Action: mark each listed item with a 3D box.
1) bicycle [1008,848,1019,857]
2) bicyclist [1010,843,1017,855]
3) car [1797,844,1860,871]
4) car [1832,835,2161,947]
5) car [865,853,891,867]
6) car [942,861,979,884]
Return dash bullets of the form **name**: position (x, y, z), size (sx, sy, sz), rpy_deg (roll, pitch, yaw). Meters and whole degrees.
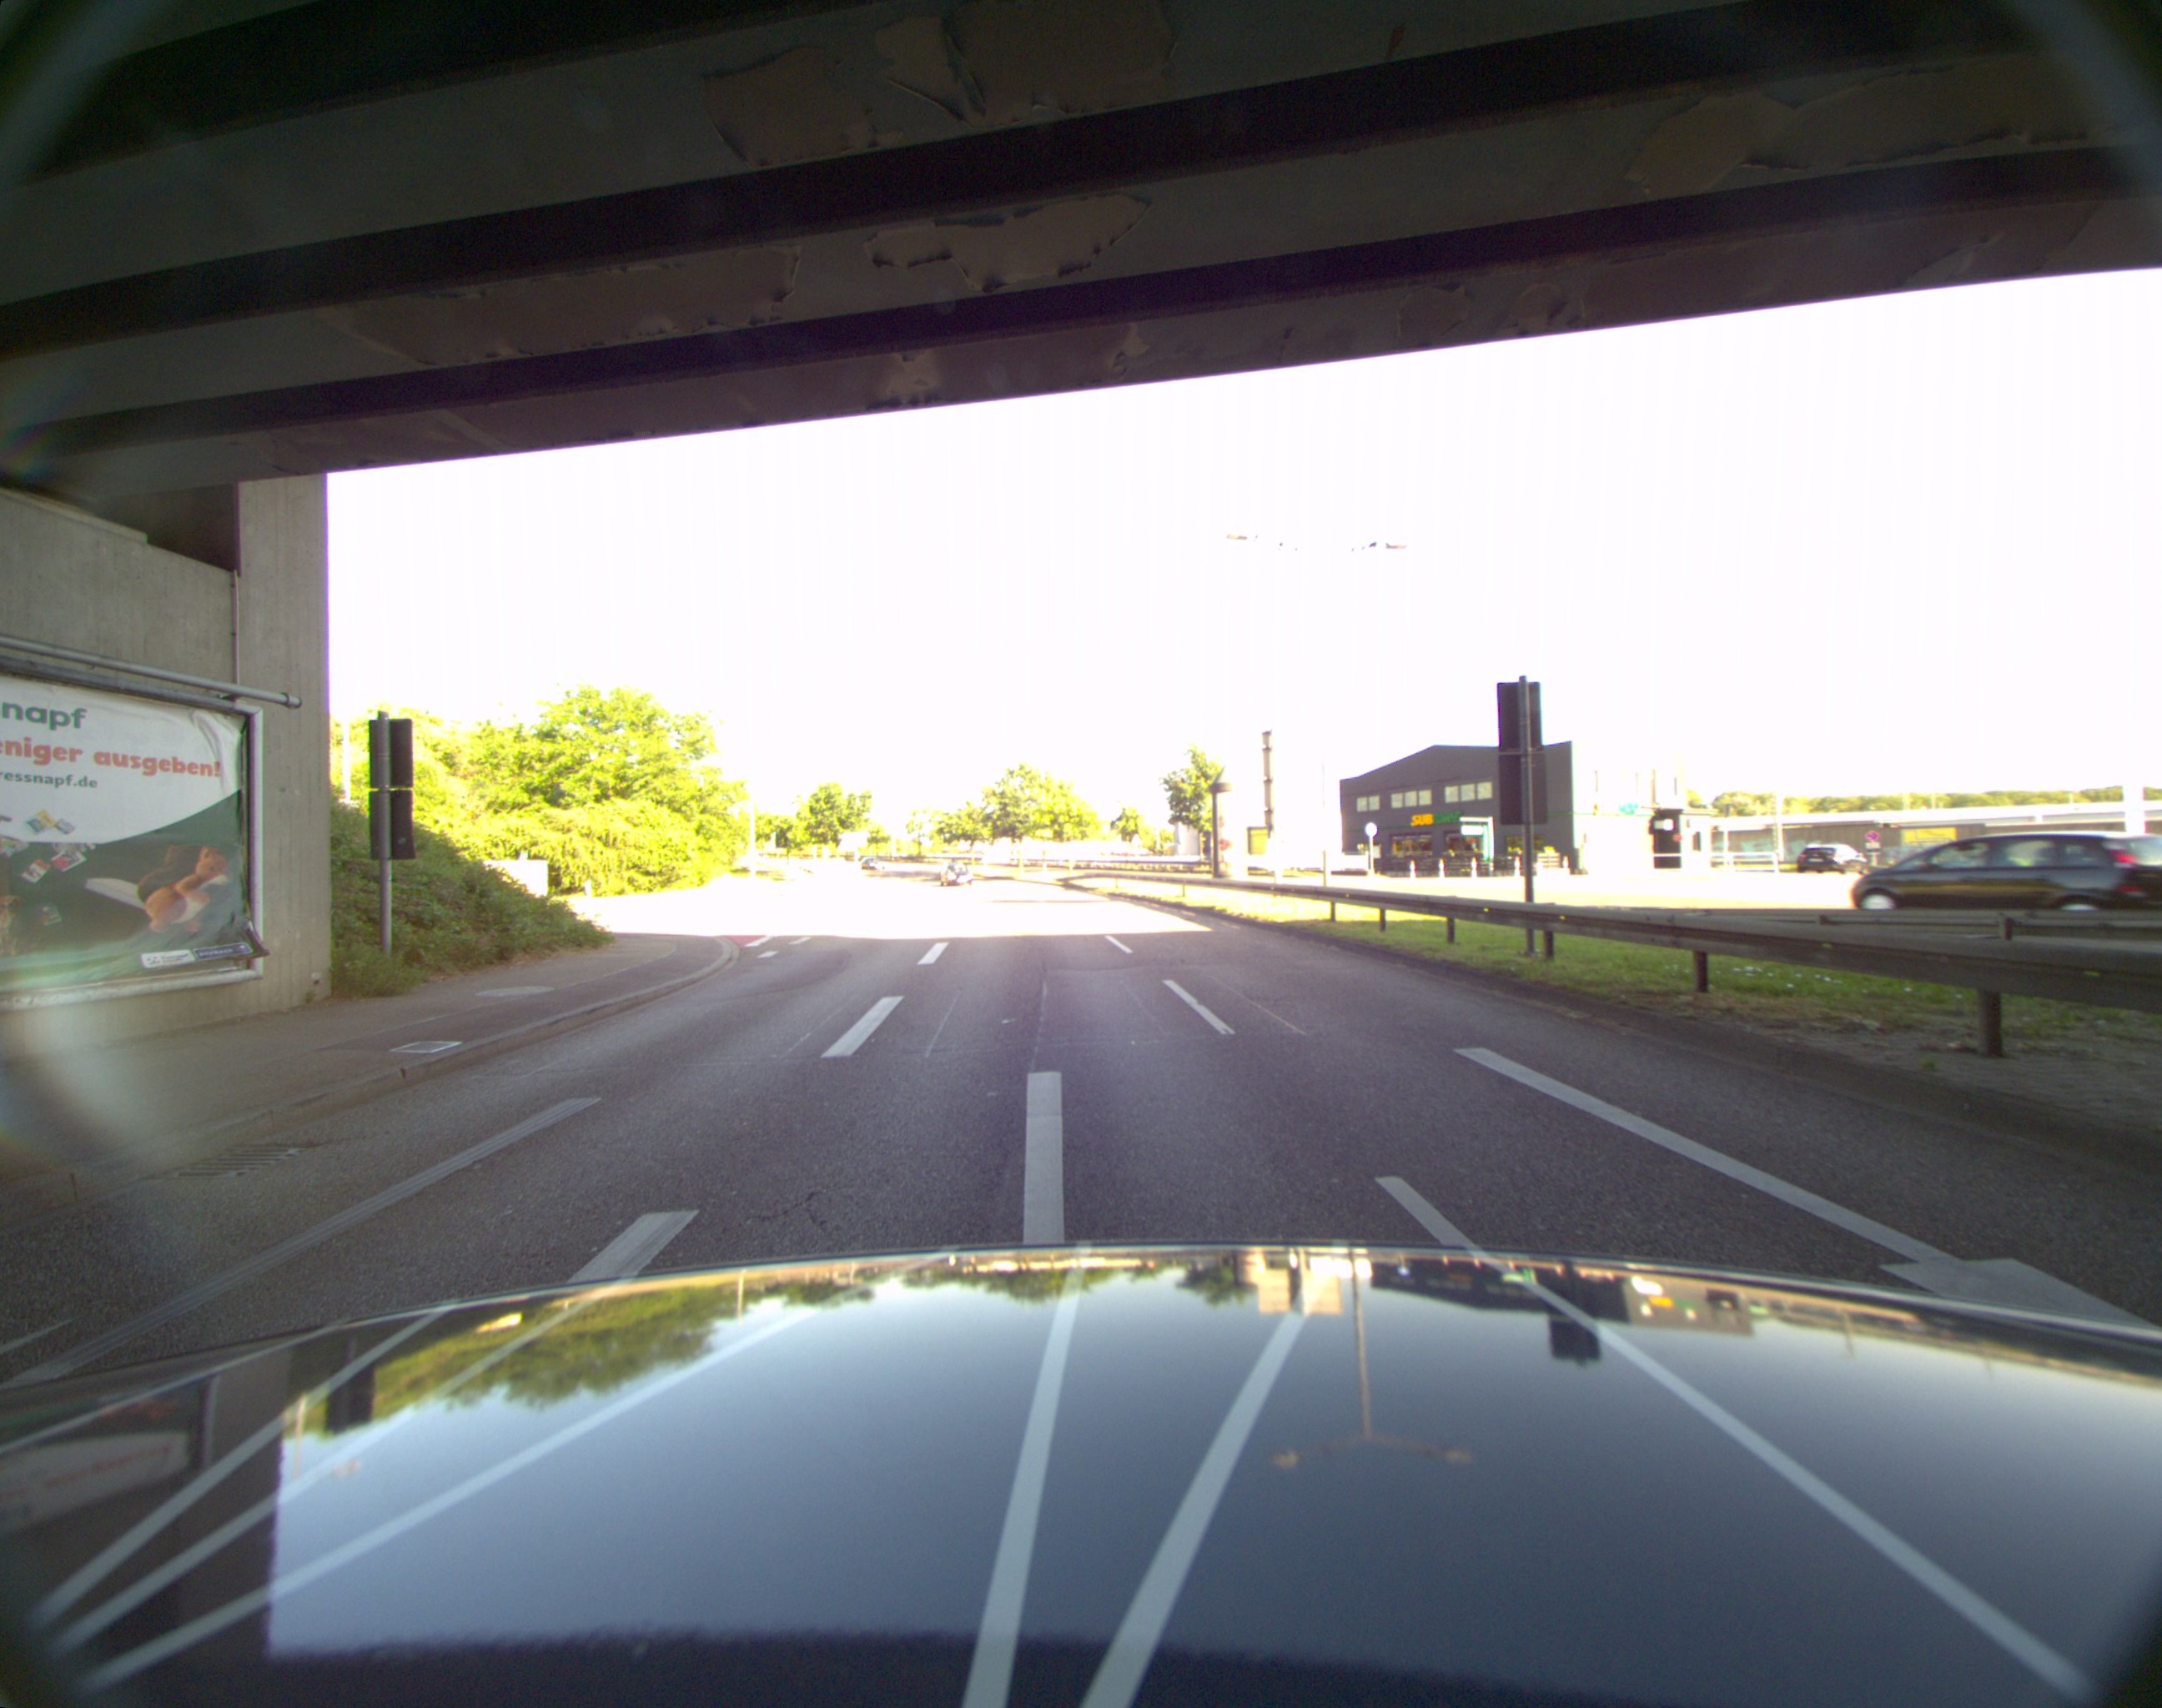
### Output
- **bicycle**: position (-8.373, -0.181, 93.594), size (0.594, 1.017, 1.746), rpy_deg (-3, 1, -32)
- **bicyclist**: position (-8.320, -0.585, 93.444), size (0.594, 1.419, 0.707), rpy_deg (-3, 1, -33)
- **car**: position (38.398, 0.179, 39.000), size (4.191, 1.274, 1.825), rpy_deg (1, 0, -39)
- **car**: position (15.767, 0.531, 12.807), size (1.830, 1.578, 4.180), rpy_deg (-1, 0, -7)
- **car**: position (-23.360, 0.720, 87.430), size (1.860, 1.471, 4.220), rpy_deg (-2, 0, -28)
- **car**: position (-8.005, 1.224, 50.104), size (1.740, 1.411, 4.313), rpy_deg (-1, -2, -18)
